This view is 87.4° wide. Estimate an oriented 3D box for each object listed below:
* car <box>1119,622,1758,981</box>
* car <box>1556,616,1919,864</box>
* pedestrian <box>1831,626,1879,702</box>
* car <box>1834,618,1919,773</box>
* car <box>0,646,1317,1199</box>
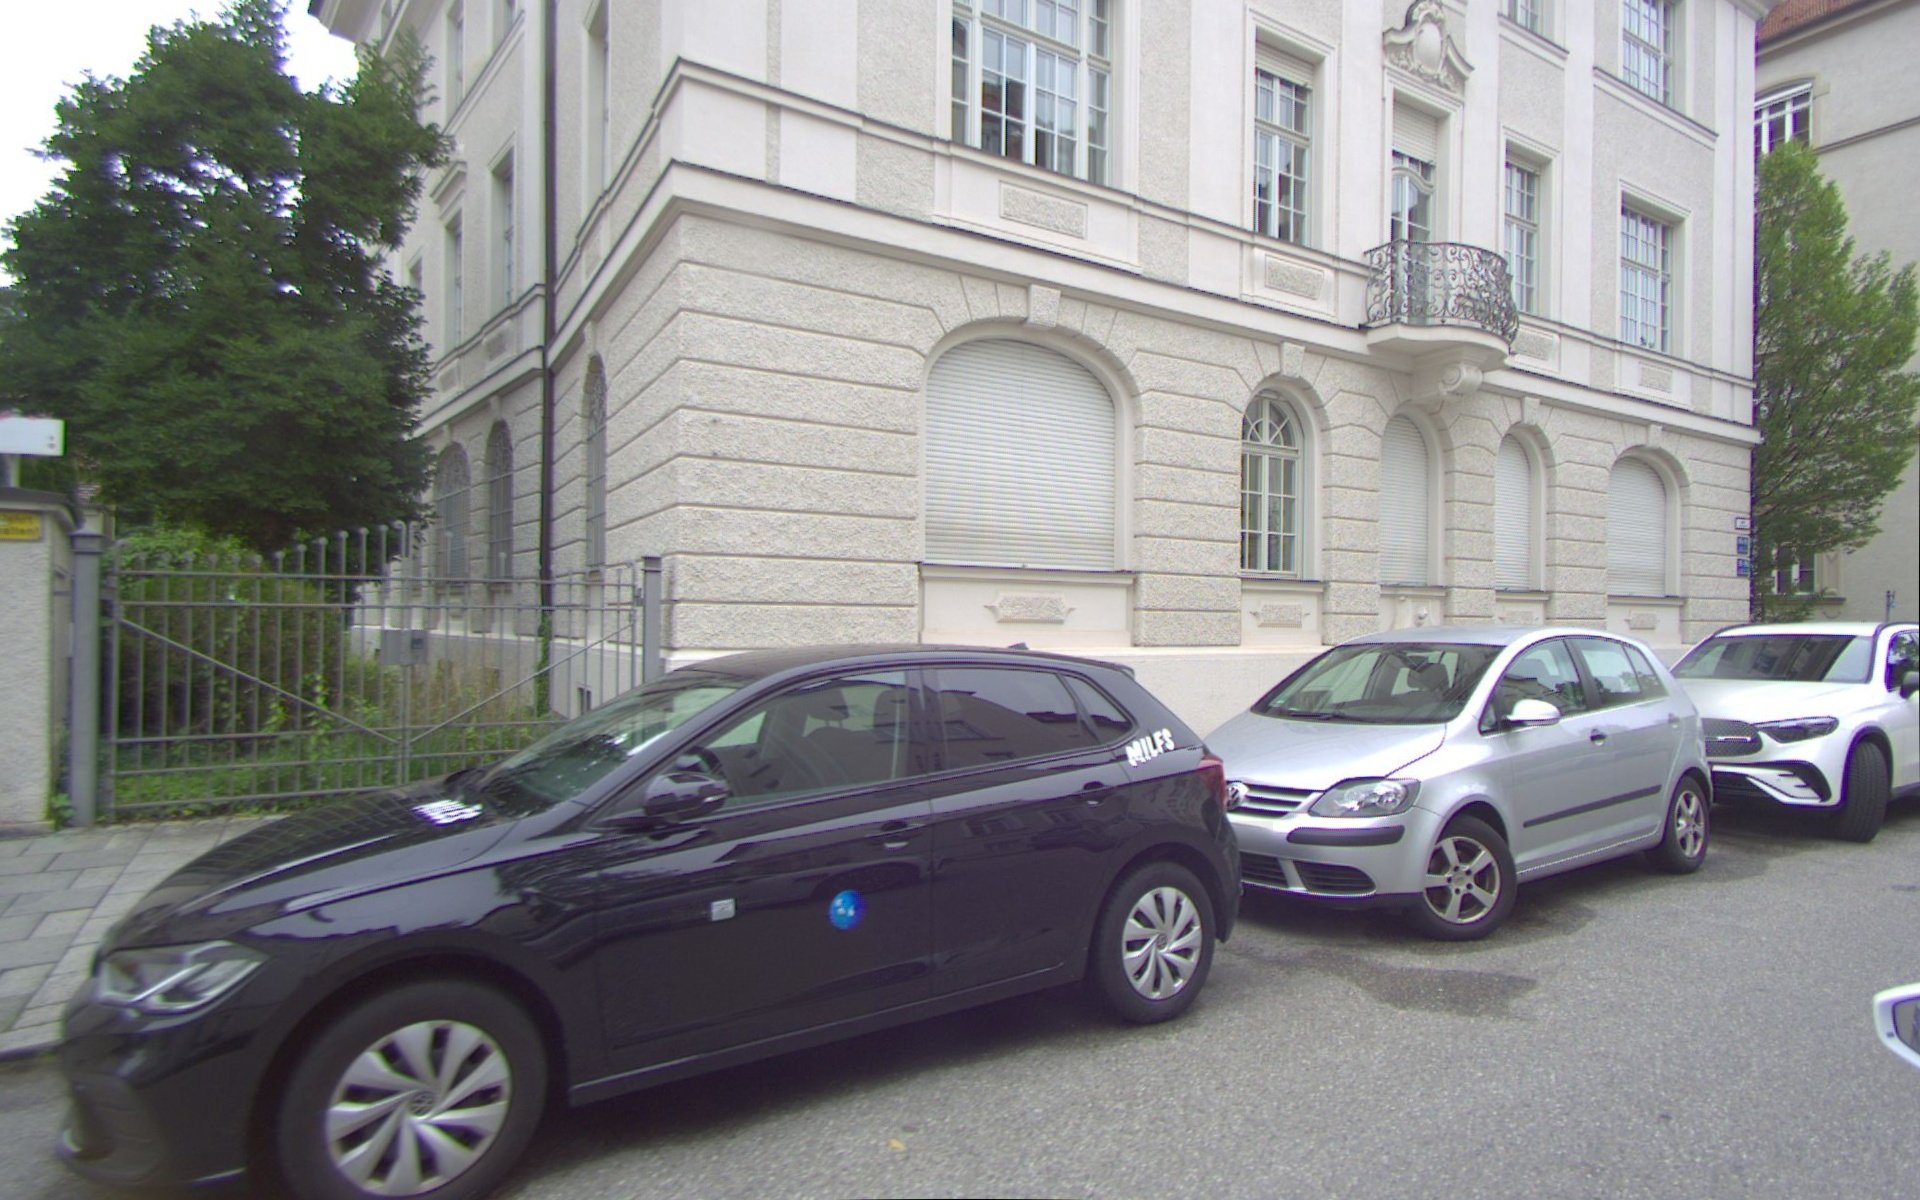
[{"bbox_3d":[3.162,0.965,6.348,4.214,1.561,1.772,1,-3,-35],"label":"car"},{"bbox_3d":[7.366,0.972,8.673,4.518,1.640,1.906,1,-1,-31],"label":"car"},{"bbox_3d":[19.881,1.398,22.311,0.624,1.648,0.669,1,-1,-33],"label":"pedestrian"},{"bbox_3d":[12.131,1.046,11.683,4.197,1.640,1.827,1,-1,-32],"label":"car"},{"bbox_3d":[-0.770,0.911,3.879,4.230,1.433,1.784,1,-3,-31],"label":"car"}]
